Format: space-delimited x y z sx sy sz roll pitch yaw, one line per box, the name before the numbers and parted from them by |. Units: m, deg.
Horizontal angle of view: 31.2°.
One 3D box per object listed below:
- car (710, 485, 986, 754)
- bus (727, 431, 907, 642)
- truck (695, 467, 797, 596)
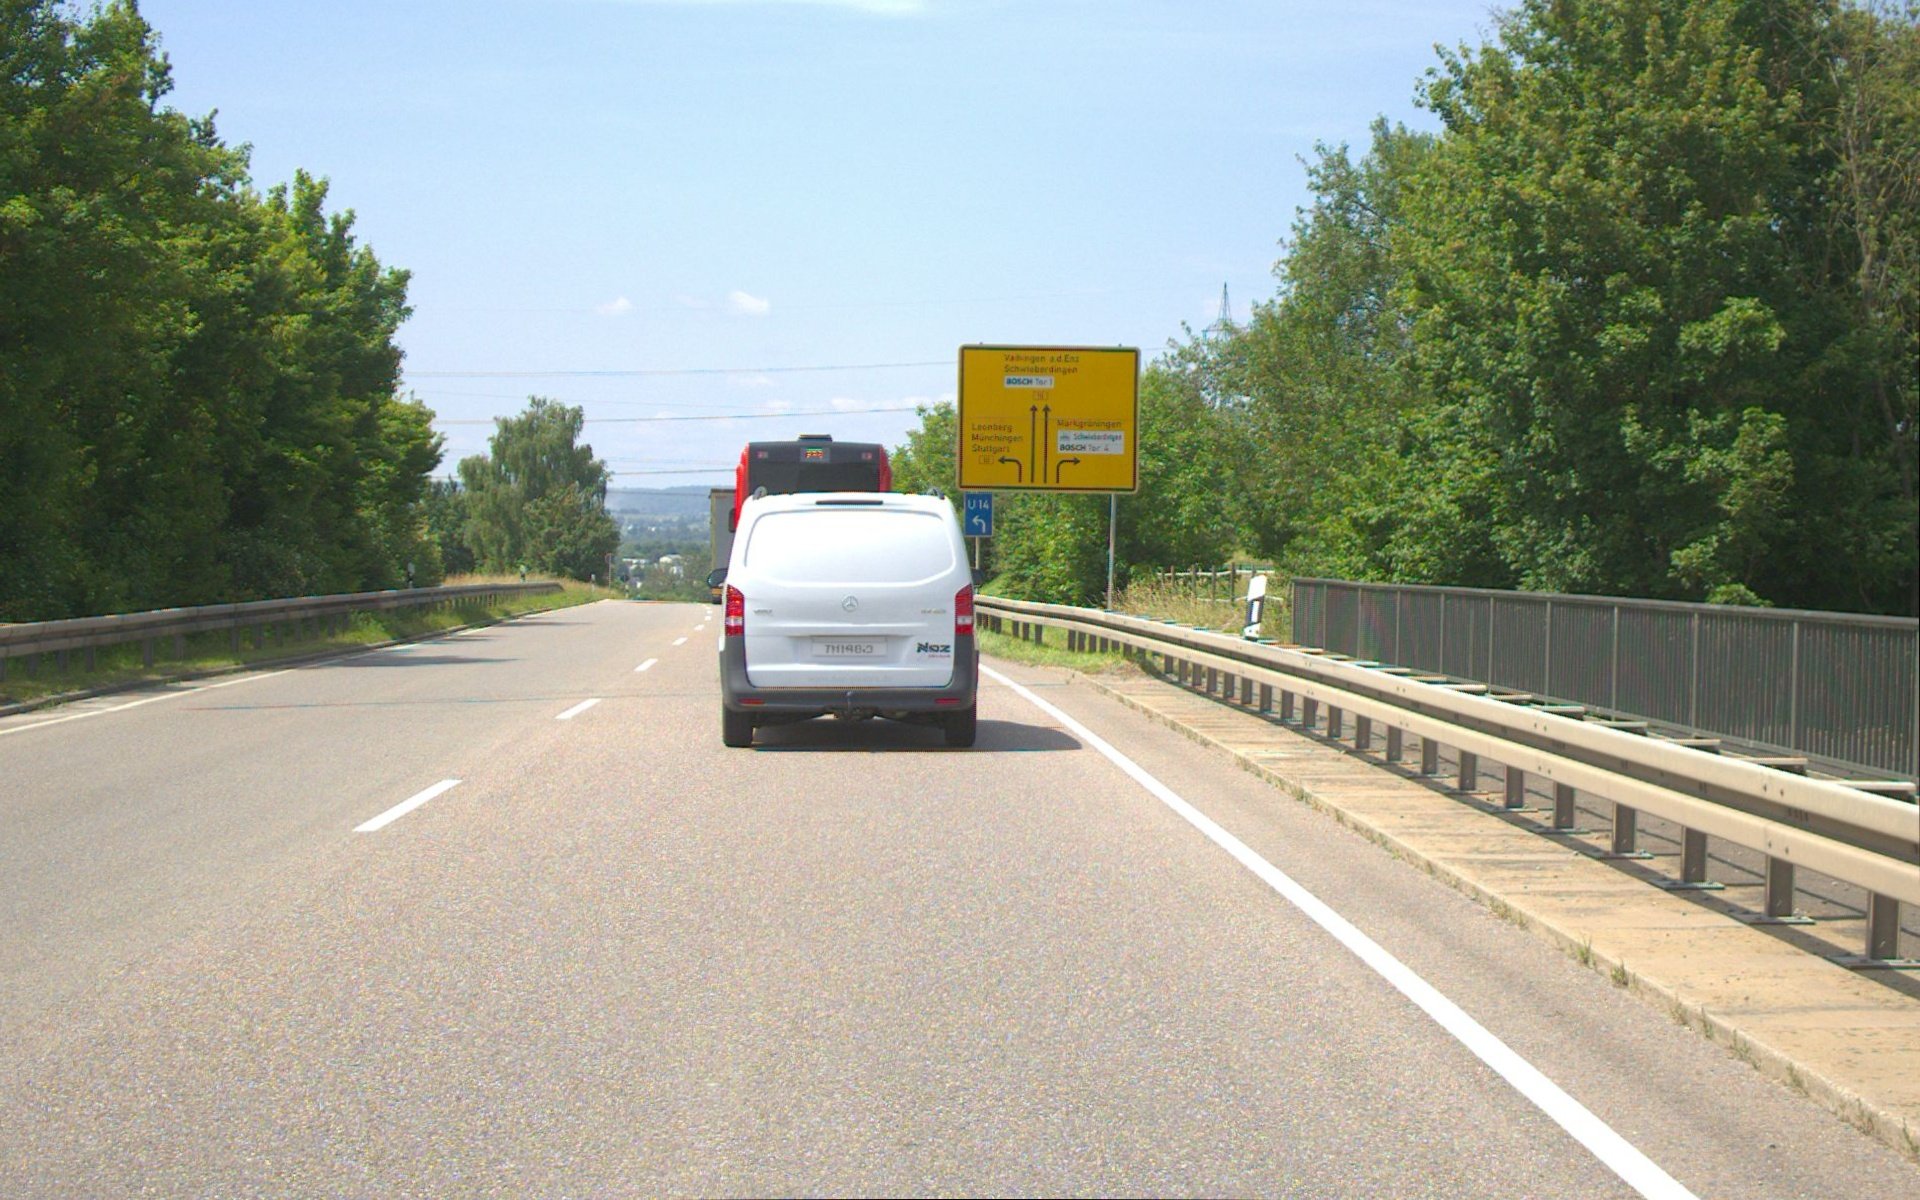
car | -0.887 0.090 26.367 1.923 1.883 4.001 1 1 -3
bus | -2.713 -1.152 61.093 2.746 3.342 13.224 0 1 -4
truck | -7.783 -2.536 125.444 3.488 4.408 14.905 0 1 -3
